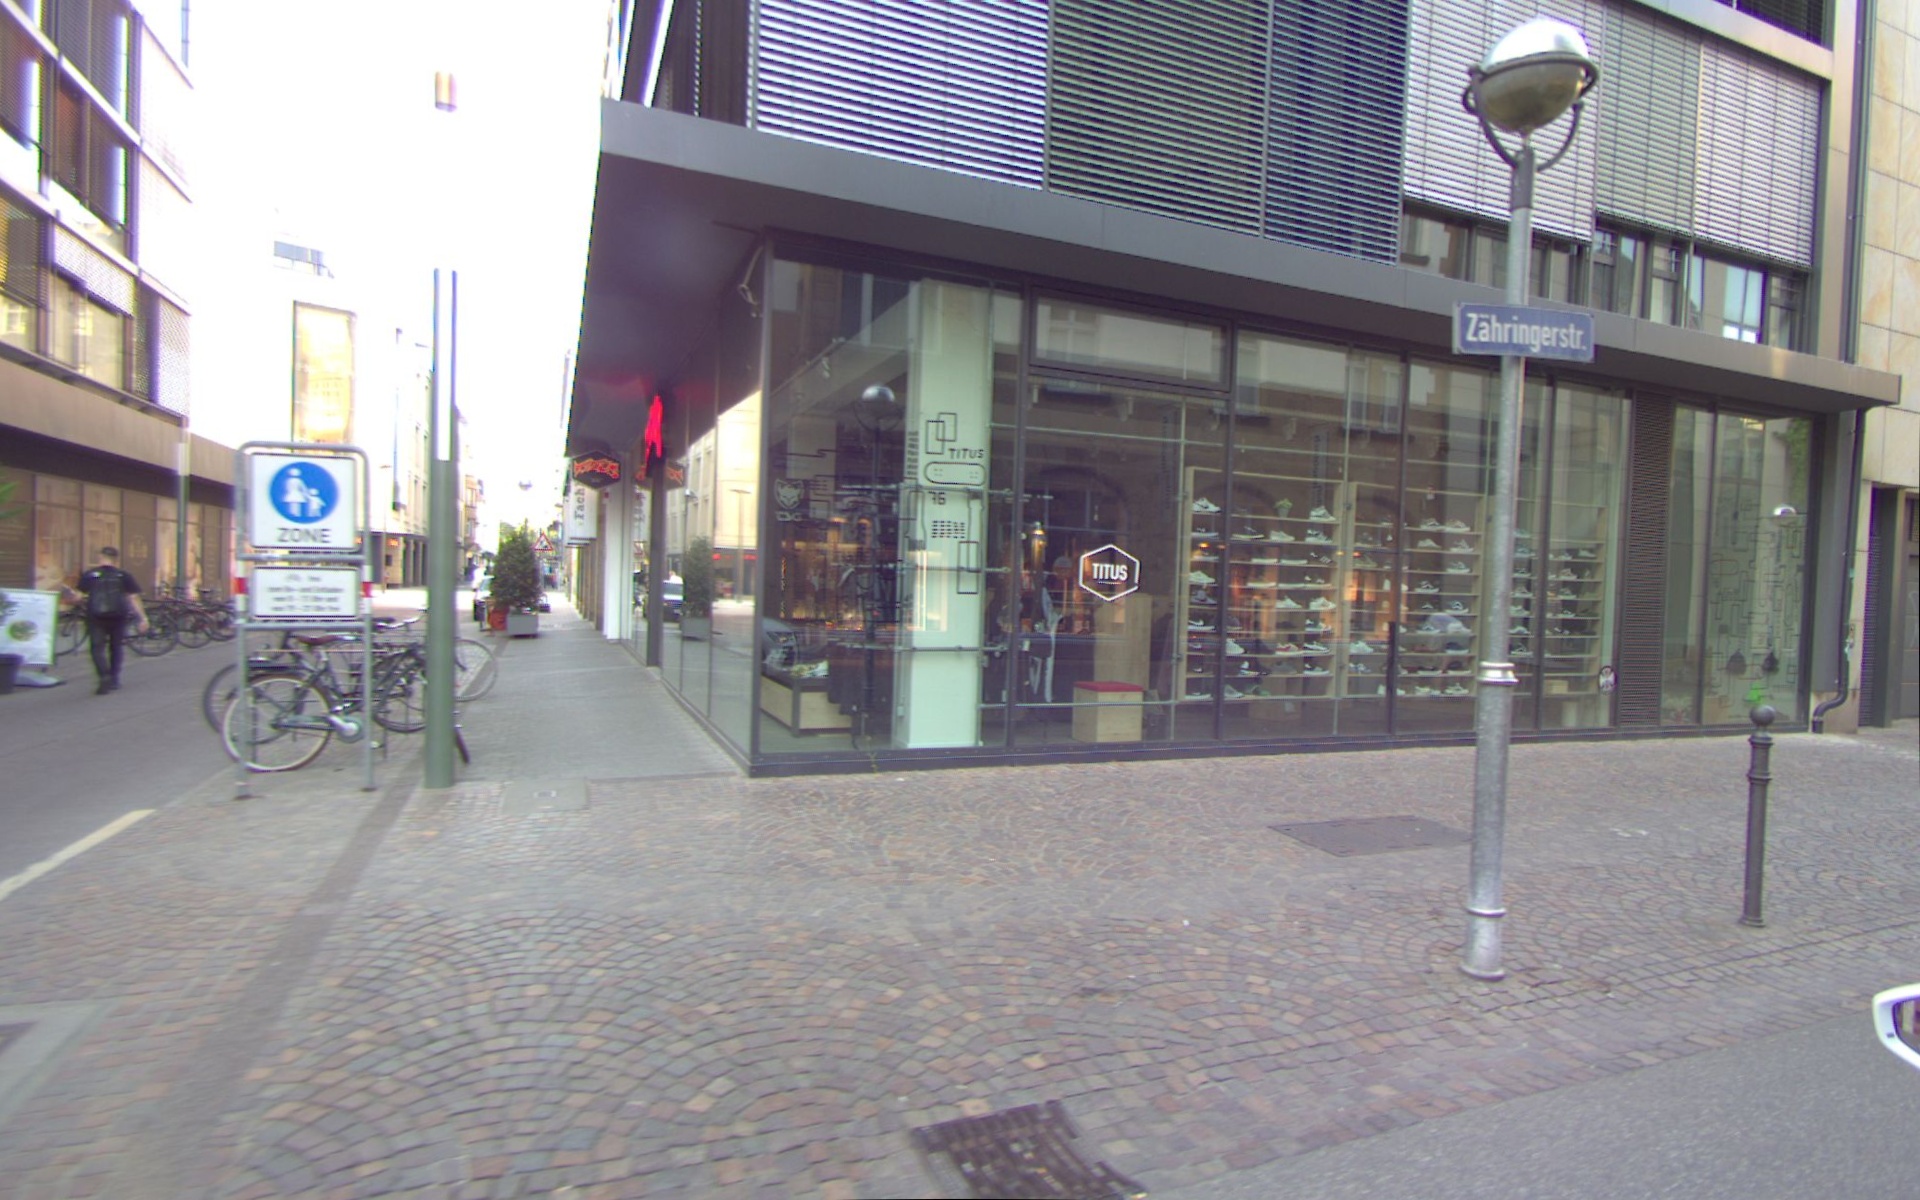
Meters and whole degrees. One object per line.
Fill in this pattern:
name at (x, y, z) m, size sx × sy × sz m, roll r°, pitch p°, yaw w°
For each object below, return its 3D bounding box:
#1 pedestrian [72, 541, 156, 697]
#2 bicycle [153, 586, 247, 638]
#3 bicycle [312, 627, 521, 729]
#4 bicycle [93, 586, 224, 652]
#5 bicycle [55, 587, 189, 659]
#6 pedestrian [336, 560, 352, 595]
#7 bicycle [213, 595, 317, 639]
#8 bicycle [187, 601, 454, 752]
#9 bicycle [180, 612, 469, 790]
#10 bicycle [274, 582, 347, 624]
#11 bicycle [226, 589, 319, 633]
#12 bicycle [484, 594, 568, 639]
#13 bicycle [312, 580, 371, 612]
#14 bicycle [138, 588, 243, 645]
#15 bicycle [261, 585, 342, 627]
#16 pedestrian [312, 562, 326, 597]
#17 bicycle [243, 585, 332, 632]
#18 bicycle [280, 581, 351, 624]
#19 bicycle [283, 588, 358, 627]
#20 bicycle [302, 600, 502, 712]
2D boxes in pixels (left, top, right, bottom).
pedestrian at (-10.300, 0.209, 12.233) m, size 0.734 × 1.809 × 0.957 m, roll 1°, pitch 1°, yaw -41°
bicycle at (-15.467, 0.249, 20.466) m, size 1.435 × 1.019 × 0.463 m, roll 1°, pitch 1°, yaw -24°
bicycle at (-5.294, 0.737, 9.889) m, size 1.768 × 0.907 × 0.451 m, roll 0°, pitch 1°, yaw -24°
bicycle at (-14.113, 0.341, 17.735) m, size 1.704 × 1.106 × 0.545 m, roll 1°, pitch 1°, yaw -24°
bicycle at (-13.249, 0.367, 15.924) m, size 1.521 × 1.099 × 0.545 m, roll 1°, pitch 1°, yaw -24°
pedestrian at (-28.554, -1.038, 46.569) m, size 0.372 × 1.594 × 0.478 m, roll 2°, pitch 1°, yaw 16°
bicycle at (-16.174, 0.405, 23.406) m, size 1.918 × 0.970 × 0.463 m, roll 1°, pitch 1°, yaw -24°
bicycle at (-5.331, 0.603, 8.513) m, size 1.816 × 1.166 × 0.606 m, roll 0°, pitch 2°, yaw -24°
bicycle at (-4.474, 0.670, 7.225) m, size 1.650 × 1.128 × 0.705 m, roll 0°, pitch 1°, yaw -24°
bicycle at (-18.924, 0.088, 29.283) m, size 1.710 × 1.161 × 0.463 m, roll 1°, pitch 1°, yaw -24°
bicycle at (-16.724, 0.271, 24.481) m, size 1.770 × 1.021 × 0.528 m, roll 1°, pitch 1°, yaw -24°
bicycle at (-10.015, 0.378, 23.208) m, size 1.769 × 1.028 × 0.365 m, roll 0°, pitch 1°, yaw -24°
bicycle at (-21.812, -0.134, 35.440) m, size 1.710 × 1.076 × 0.434 m, roll 1°, pitch 1°, yaw -24°
bicycle at (-14.803, 0.315, 19.358) m, size 1.535 × 1.051 × 0.463 m, roll 1°, pitch 1°, yaw -24°
bicycle at (-17.713, 0.167, 27.041) m, size 1.753 × 1.065 × 0.463 m, roll 1°, pitch 1°, yaw -24°
pedestrian at (-29.193, -0.927, 45.727) m, size 0.474 × 1.573 × 0.430 m, roll 1°, pitch 1°, yaw -39°
bicycle at (-17.273, 0.220, 25.832) m, size 1.823 × 1.151 × 0.463 m, roll 1°, pitch 1°, yaw -24°
bicycle at (-19.247, 0.076, 30.010) m, size 1.710 × 1.245 × 0.463 m, roll 1°, pitch 1°, yaw -24°
bicycle at (-17.936, 0.214, 28.215) m, size 1.710 × 1.065 × 0.463 m, roll 1°, pitch 1°, yaw -24°
bicycle at (-6.119, 0.592, 11.122) m, size 1.885 × 1.160 × 0.553 m, roll 0°, pitch 1°, yaw -24°
